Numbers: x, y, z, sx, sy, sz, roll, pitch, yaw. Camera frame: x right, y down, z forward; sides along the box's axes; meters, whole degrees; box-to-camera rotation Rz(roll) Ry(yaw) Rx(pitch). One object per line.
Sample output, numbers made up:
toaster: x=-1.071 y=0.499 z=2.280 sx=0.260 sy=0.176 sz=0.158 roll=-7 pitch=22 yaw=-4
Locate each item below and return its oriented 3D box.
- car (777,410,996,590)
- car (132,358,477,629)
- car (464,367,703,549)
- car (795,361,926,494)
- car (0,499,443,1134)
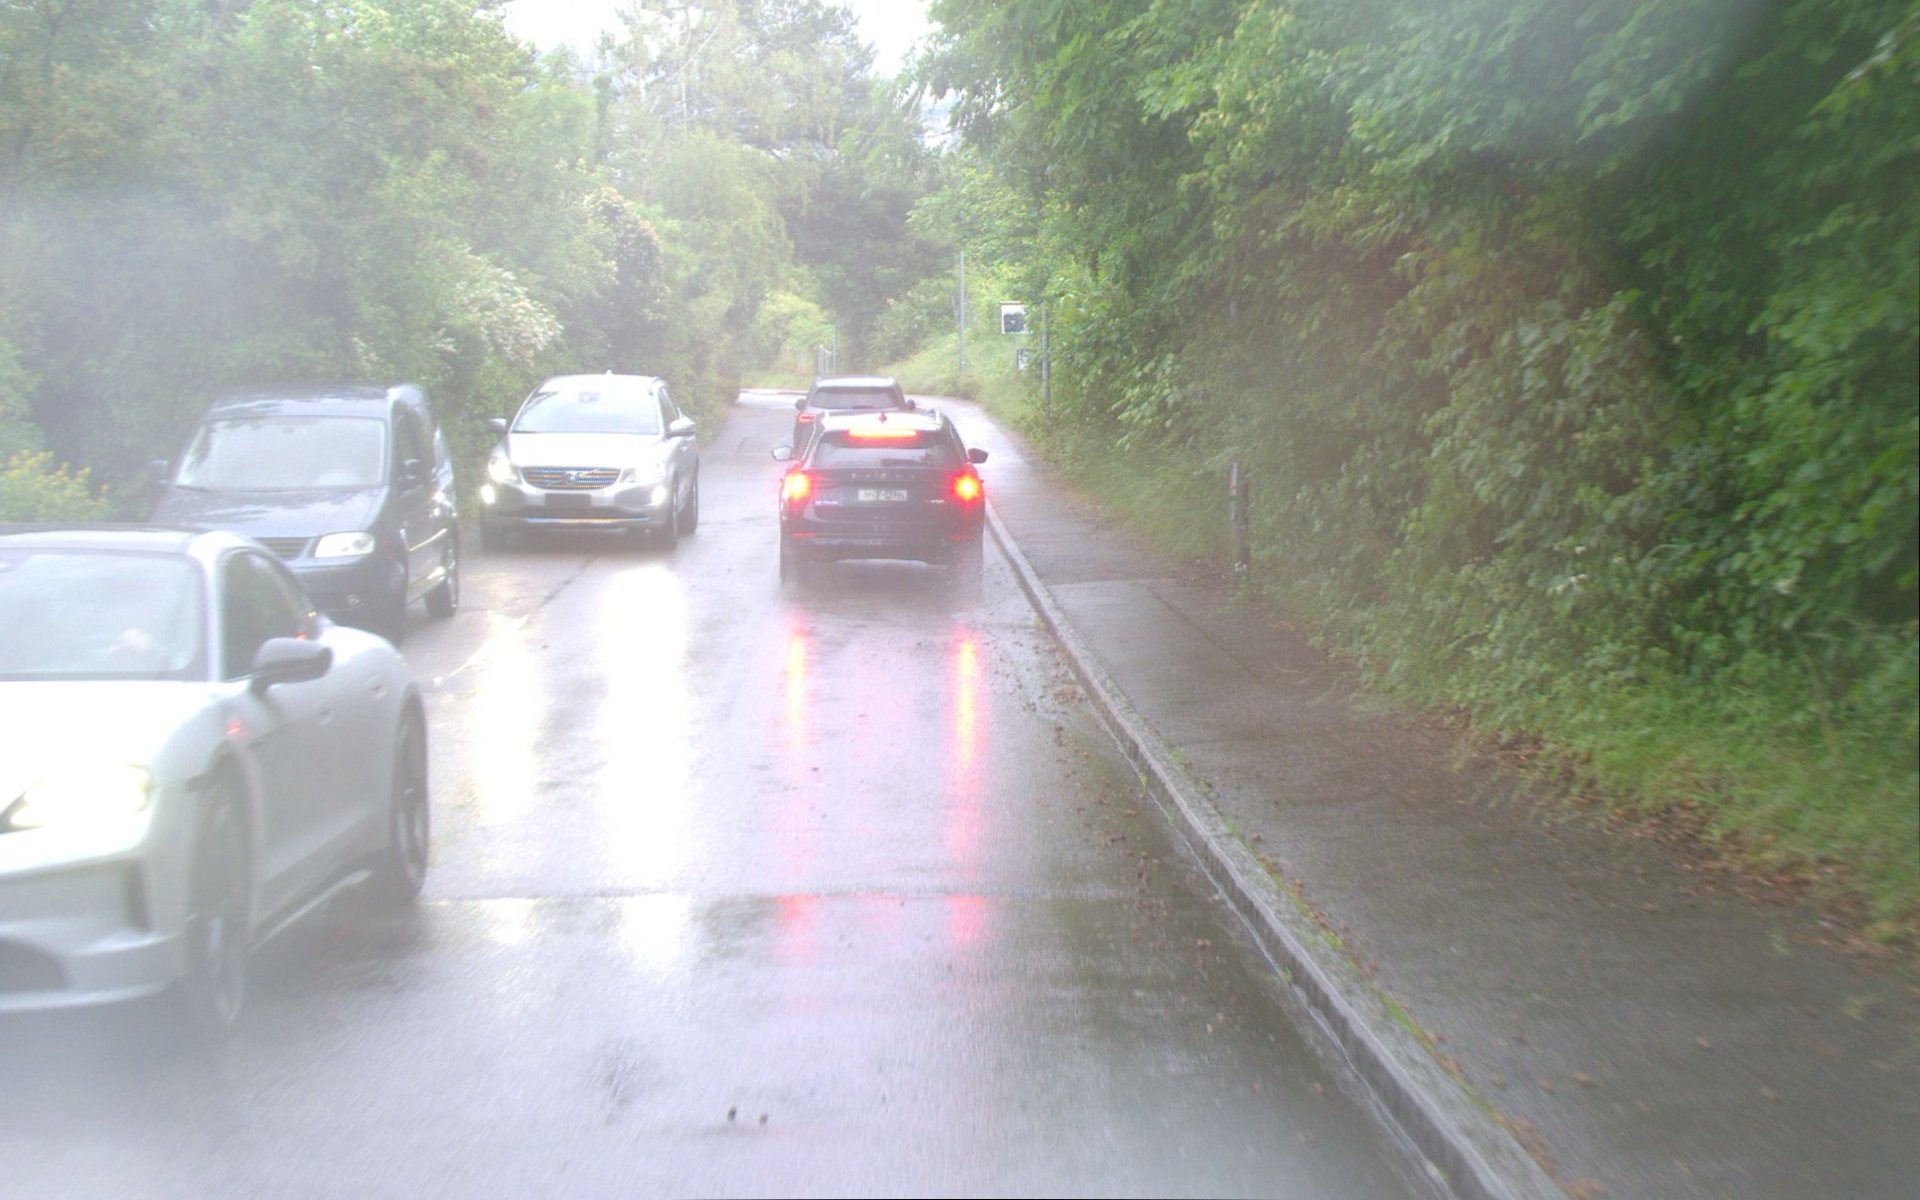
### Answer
car: x=-0.709 y=-0.939 z=30.478 sx=1.699 sy=1.445 sz=4.001 roll=0 pitch=4 yaw=-5
car: x=-4.610 y=-0.845 z=24.750 sx=1.689 sy=1.776 sz=4.233 roll=0 pitch=4 yaw=-1
car: x=-3.736 y=-1.492 z=34.782 sx=2.048 sy=1.595 sz=4.231 roll=2 pitch=5 yaw=-2
car: x=-1.509 y=-2.551 z=51.627 sx=1.863 sy=1.737 sz=4.000 roll=1 pitch=-1 yaw=-2
car: x=-2.930 y=0.528 z=10.534 sx=1.941 sy=1.517 sz=4.579 roll=1 pitch=-1 yaw=1
